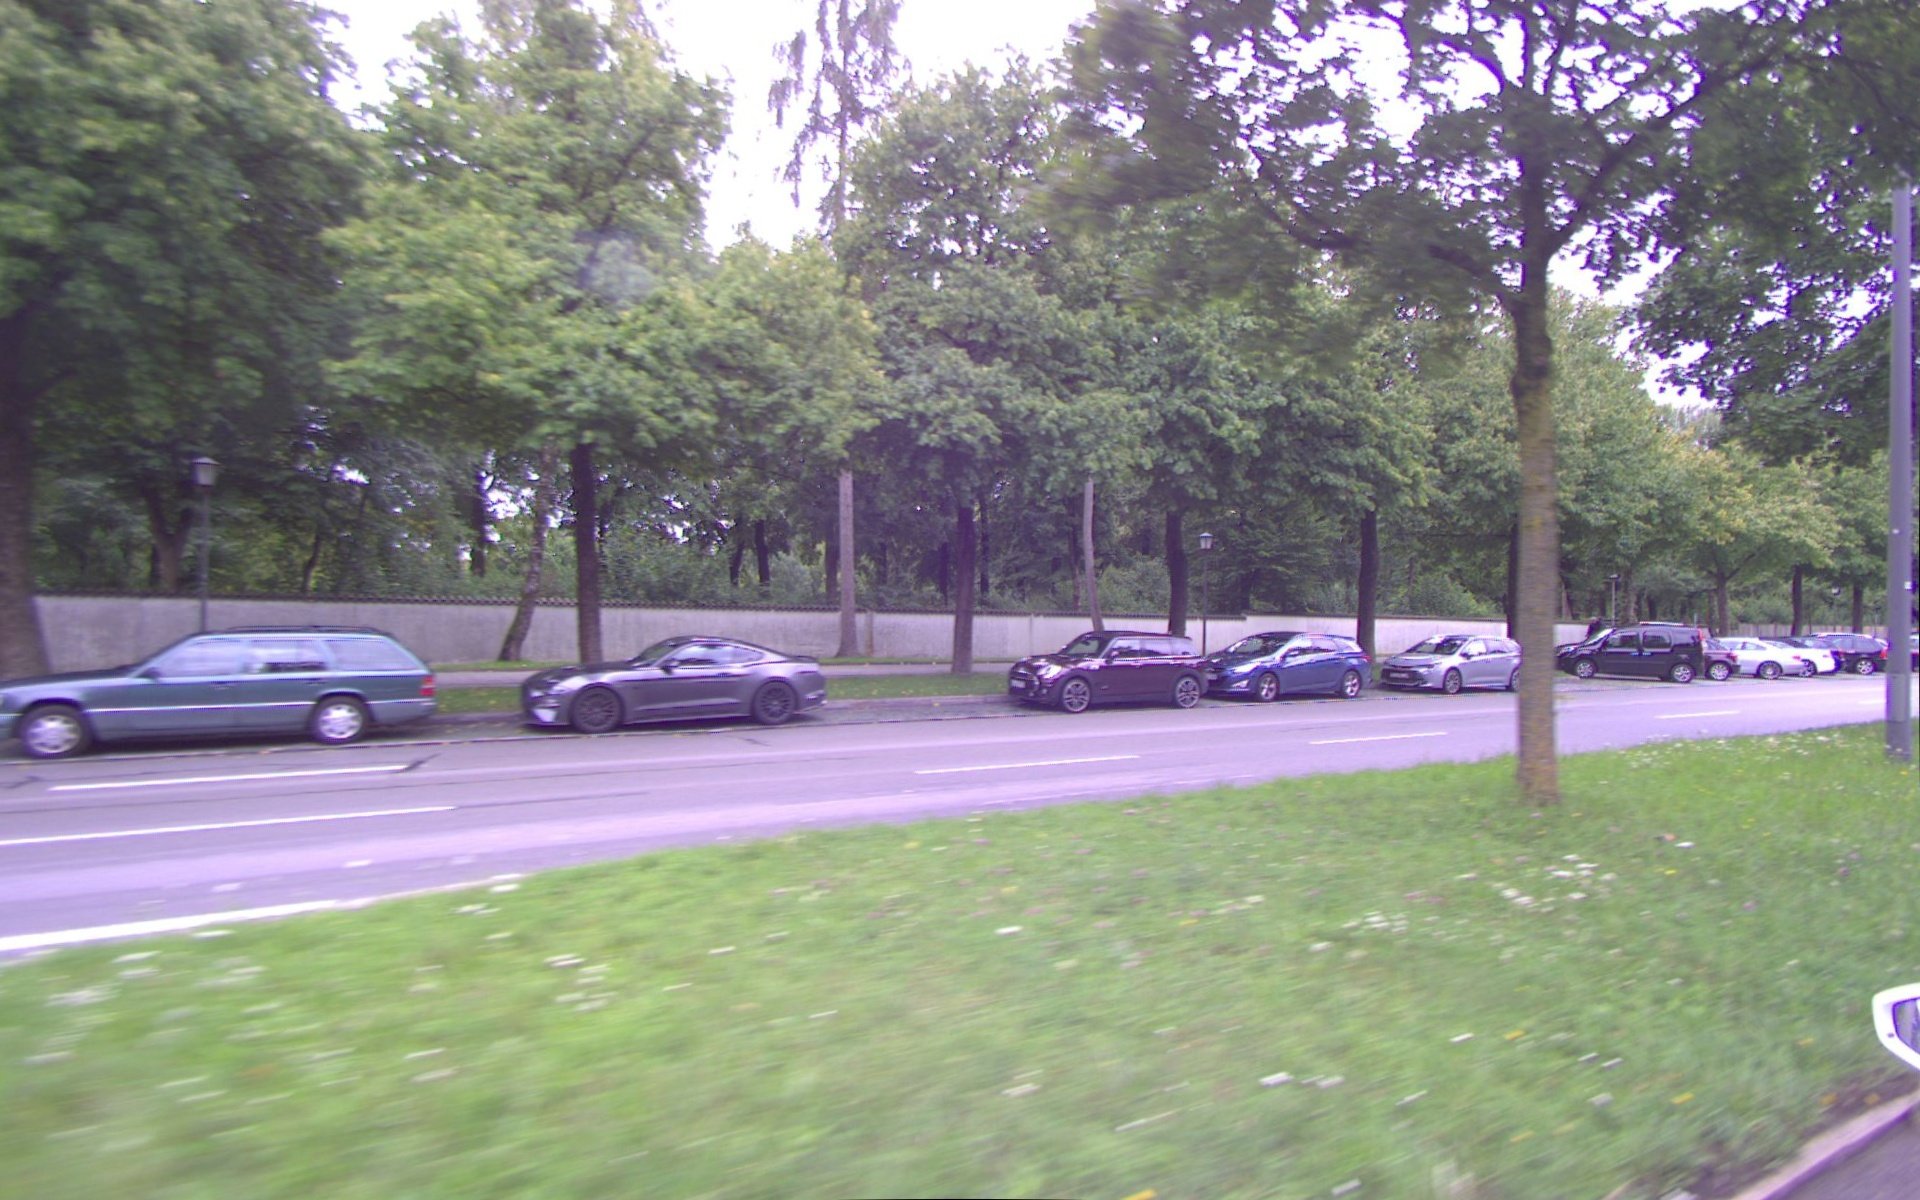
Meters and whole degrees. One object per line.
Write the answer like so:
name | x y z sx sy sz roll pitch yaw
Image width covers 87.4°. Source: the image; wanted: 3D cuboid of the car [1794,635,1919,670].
car | 39.790 2.299 44.443 4.121 1.428 1.917 0 -1 27

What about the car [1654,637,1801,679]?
car | 27.511 2.048 36.169 3.925 1.372 1.849 0 -1 26

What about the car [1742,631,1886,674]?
car | 34.675 2.097 40.923 4.028 1.618 1.919 0 -1 22

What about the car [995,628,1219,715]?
car | 2.928 1.358 19.812 4.247 1.523 1.565 1 0 -26

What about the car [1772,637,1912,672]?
car | 37.464 2.280 42.817 4.125 1.340 1.917 0 -1 27

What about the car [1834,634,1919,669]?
car | 42.807 2.335 45.859 4.032 1.489 1.917 0 -1 27

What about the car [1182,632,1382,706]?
car | 7.305 1.493 22.633 4.745 1.478 1.578 1 0 -32

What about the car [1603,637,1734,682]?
car | 24.292 2.016 34.578 3.517 1.372 1.750 0 -1 30

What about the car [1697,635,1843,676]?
car | 30.337 2.064 37.763 3.967 1.400 1.673 0 -1 25

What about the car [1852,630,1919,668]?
car | 44.759 2.284 47.101 4.032 1.702 1.917 0 -1 27

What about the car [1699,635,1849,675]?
car | 31.949 2.147 39.576 4.157 1.441 1.919 0 -1 19

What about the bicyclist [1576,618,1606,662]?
bicyclist | 26.050 1.646 41.465 0.912 1.770 0.702 1 -1 -30

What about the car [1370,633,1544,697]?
car | 12.844 1.618 25.876 4.750 1.458 1.629 1 0 -29

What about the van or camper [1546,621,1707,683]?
van or camper | 21.711 1.648 32.899 4.044 1.879 1.850 0 -1 20

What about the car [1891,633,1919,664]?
car | 50.427 2.489 51.184 4.035 1.521 1.916 0 -1 30

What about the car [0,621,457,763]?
car | -9.268 1.078 12.973 4.857 1.510 1.790 1 0 -30

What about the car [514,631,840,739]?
car | -4.361 1.236 15.733 4.651 1.414 1.651 1 0 -30
